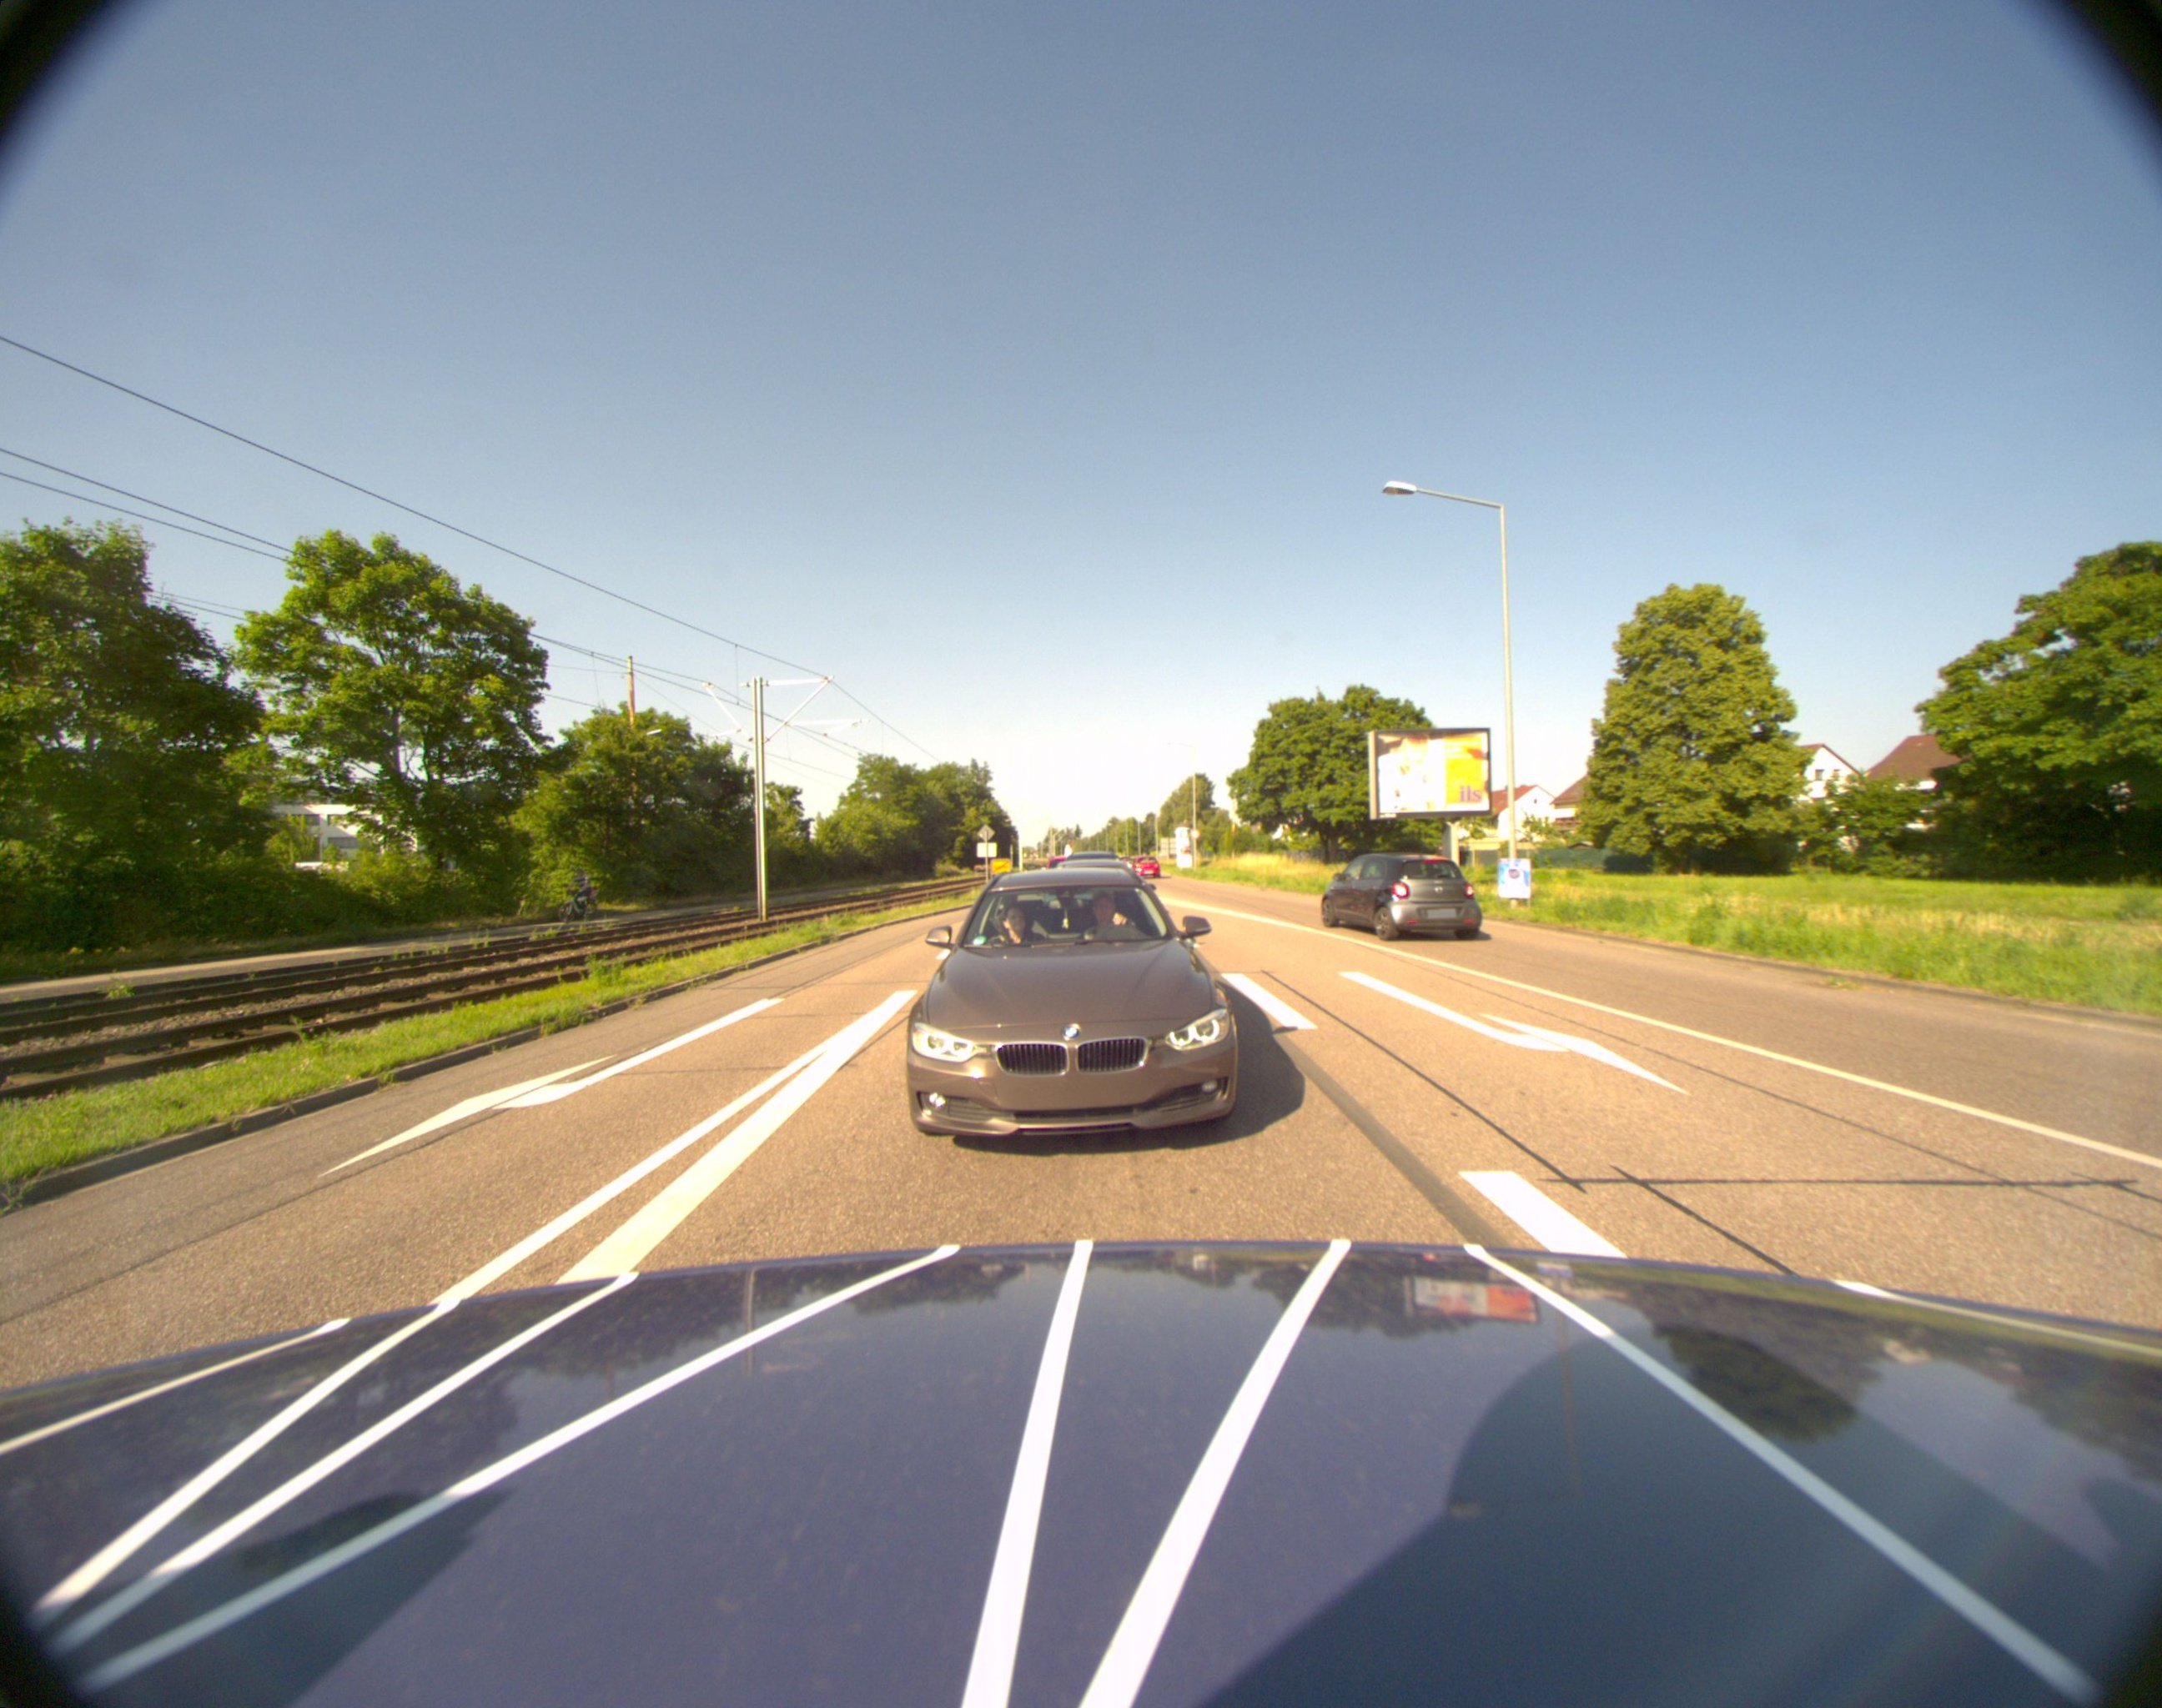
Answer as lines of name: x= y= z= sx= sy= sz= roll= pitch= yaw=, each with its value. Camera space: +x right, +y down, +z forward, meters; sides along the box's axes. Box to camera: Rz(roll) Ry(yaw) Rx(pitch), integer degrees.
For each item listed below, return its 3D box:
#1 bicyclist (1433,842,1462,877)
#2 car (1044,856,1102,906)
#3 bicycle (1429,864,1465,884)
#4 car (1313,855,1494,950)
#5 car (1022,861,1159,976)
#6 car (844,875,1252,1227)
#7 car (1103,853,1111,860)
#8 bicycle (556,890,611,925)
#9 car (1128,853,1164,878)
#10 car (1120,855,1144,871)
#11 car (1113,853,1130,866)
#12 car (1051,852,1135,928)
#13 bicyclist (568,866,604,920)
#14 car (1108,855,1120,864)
bicyclist: x=15.150 y=0.221 z=31.429 sx=0.638 sy=1.420 sz=1.071 roll=-1 pitch=1 yaw=-4
car: x=-0.237 y=0.854 z=25.975 sx=1.807 sy=1.498 sz=4.197 roll=-1 pitch=0 yaw=0
bicycle: x=15.137 y=0.824 z=31.458 sx=0.455 sy=0.749 sz=1.833 roll=-1 pitch=0 yaw=-5
car: x=5.887 y=0.810 z=14.384 sx=1.638 sy=1.551 sz=3.674 roll=1 pitch=0 yaw=-4
car: x=0.146 y=0.901 z=12.640 sx=1.821 sy=1.481 sz=4.611 roll=-1 pitch=0 yaw=0
car: x=-0.126 y=0.975 z=5.731 sx=1.821 sy=1.416 sz=4.461 roll=-2 pitch=0 yaw=1
car: x=5.734 y=0.469 z=169.325 sx=1.783 sy=1.469 sz=4.287 roll=-1 pitch=0 yaw=2
bicycle: x=-17.068 y=1.822 z=26.114 sx=0.547 sy=1.041 sz=1.874 roll=-1 pitch=0 yaw=3
car: x=4.091 y=0.720 z=48.489 sx=1.699 sy=1.489 sz=3.674 roll=0 pitch=0 yaw=-4
car: x=4.565 y=0.806 z=69.116 sx=1.784 sy=1.302 sz=4.286 roll=-1 pitch=0 yaw=-1
car: x=4.544 y=0.617 z=85.496 sx=1.784 sy=1.469 sz=3.914 roll=-1 pitch=0 yaw=0
car: x=0.294 y=0.801 z=19.374 sx=1.821 sy=1.641 sz=4.611 roll=-2 pitch=0 yaw=0
bicyclist: x=-17.043 y=1.339 z=26.162 sx=0.708 sy=1.797 sz=0.718 roll=-1 pitch=1 yaw=2
car: x=5.988 y=0.976 z=137.720 sx=1.784 sy=1.469 sz=4.285 roll=-1 pitch=0 yaw=-4
